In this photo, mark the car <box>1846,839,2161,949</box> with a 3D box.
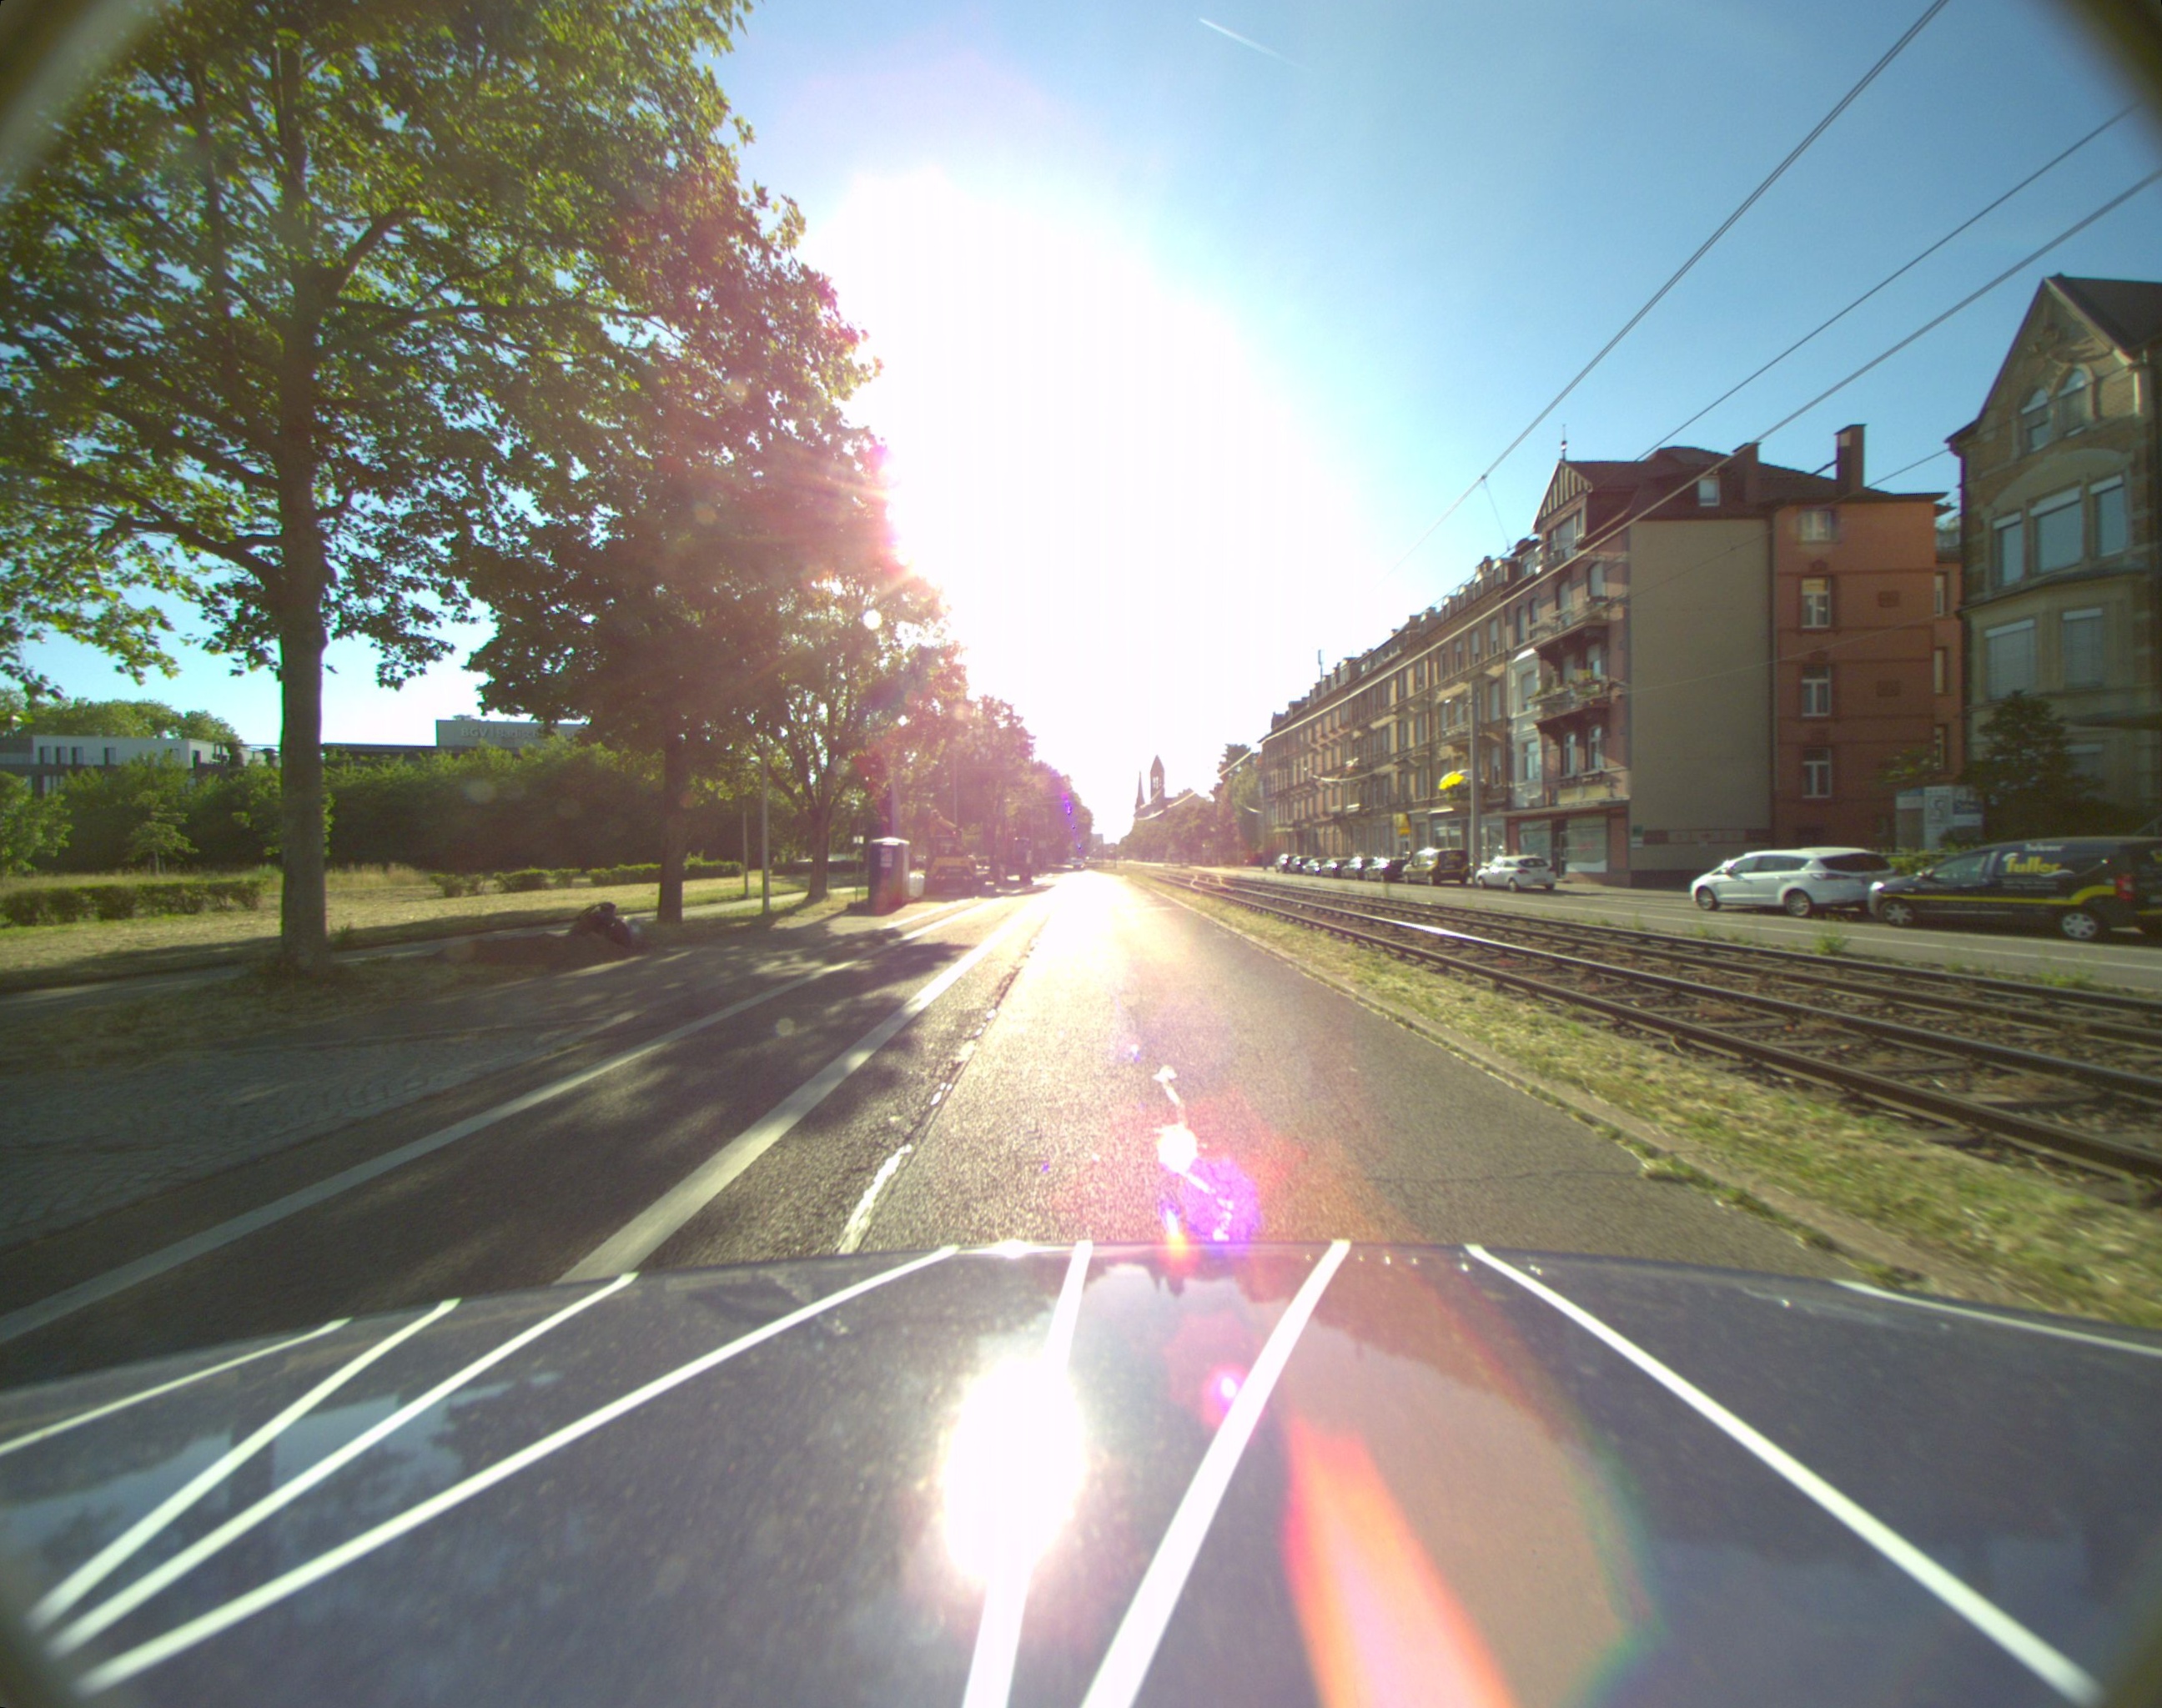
[{"bbox_3d":[18.403,0.664,14.983,1.926,1.770,4.497,-2,0,-3],"label":"car"}]

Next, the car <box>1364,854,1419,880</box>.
[{"bbox_3d":[18.456,0.754,45.386,1.664,1.437,3.981,-2,0,1],"label":"car"}]

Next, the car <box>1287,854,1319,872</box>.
[{"bbox_3d":[19.287,0.793,66.186,1.664,1.437,3.765,-2,0,1],"label":"car"}]

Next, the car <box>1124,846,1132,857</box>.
[{"bbox_3d":[12.610,-0.727,203.550,1.799,2.766,4.000,0,0,0],"label":"car"}]

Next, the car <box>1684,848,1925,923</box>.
[{"bbox_3d":[18.536,0.720,19.849,1.925,1.674,4.627,-2,0,1],"label":"car"}]

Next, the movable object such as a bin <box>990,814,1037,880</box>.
[{"bbox_3d":[-5.016,-0.519,57.837,2.922,4.583,7.597,2,0,-1],"label":"movable object such as a bin"}]

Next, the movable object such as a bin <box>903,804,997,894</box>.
[{"bbox_3d":[-6.320,-0.234,37.933,3.347,3.953,7.597,2,0,-1],"label":"movable object such as a bin"}]

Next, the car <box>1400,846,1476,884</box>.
[{"bbox_3d":[18.636,0.550,39.889,1.664,1.797,4.728,-3,0,-1],"label":"car"}]

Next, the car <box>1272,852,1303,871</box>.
[{"bbox_3d":[19.201,0.669,70.675,1.798,1.633,4.631,-2,0,3],"label":"car"}]

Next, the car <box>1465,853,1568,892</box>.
[{"bbox_3d":[18.986,0.737,33.407,1.925,1.529,4.627,-2,0,1],"label":"car"}]

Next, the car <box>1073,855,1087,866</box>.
[{"bbox_3d":[-0.140,0.875,103.879,1.799,1.501,4.000,-3,0,1],"label":"car"}]

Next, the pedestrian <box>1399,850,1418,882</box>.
[{"bbox_3d":[21.189,0.766,49.189,0.637,2.002,0.875,-4,2,-29],"label":"pedestrian"}]

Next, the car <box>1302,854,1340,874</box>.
[{"bbox_3d":[19.105,0.757,60.618,1.664,1.437,4.196,-2,0,1],"label":"car"}]

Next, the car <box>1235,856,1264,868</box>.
[{"bbox_3d":[24.868,1.166,112.093,3.991,1.502,1.802,-2,1,22],"label":"car"}]

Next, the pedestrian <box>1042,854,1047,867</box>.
[{"bbox_3d":[-4.597,0.812,95.297,0.532,1.653,0.486,1,0,-22],"label":"pedestrian"}]

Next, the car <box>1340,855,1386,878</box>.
[{"bbox_3d":[18.835,0.796,50.917,1.664,1.437,3.981,-2,0,1],"label":"car"}]

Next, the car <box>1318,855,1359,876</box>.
[{"bbox_3d":[18.944,0.799,56.107,1.664,1.437,3.981,-2,0,1],"label":"car"}]

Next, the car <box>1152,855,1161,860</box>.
[{"bbox_3d":[20.279,0.941,203.618,1.799,1.501,3.999,0,0,-1],"label":"car"}]

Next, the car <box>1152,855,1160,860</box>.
[{"bbox_3d":[21.046,0.939,214.647,1.799,1.501,3.999,0,0,-1],"label":"car"}]
